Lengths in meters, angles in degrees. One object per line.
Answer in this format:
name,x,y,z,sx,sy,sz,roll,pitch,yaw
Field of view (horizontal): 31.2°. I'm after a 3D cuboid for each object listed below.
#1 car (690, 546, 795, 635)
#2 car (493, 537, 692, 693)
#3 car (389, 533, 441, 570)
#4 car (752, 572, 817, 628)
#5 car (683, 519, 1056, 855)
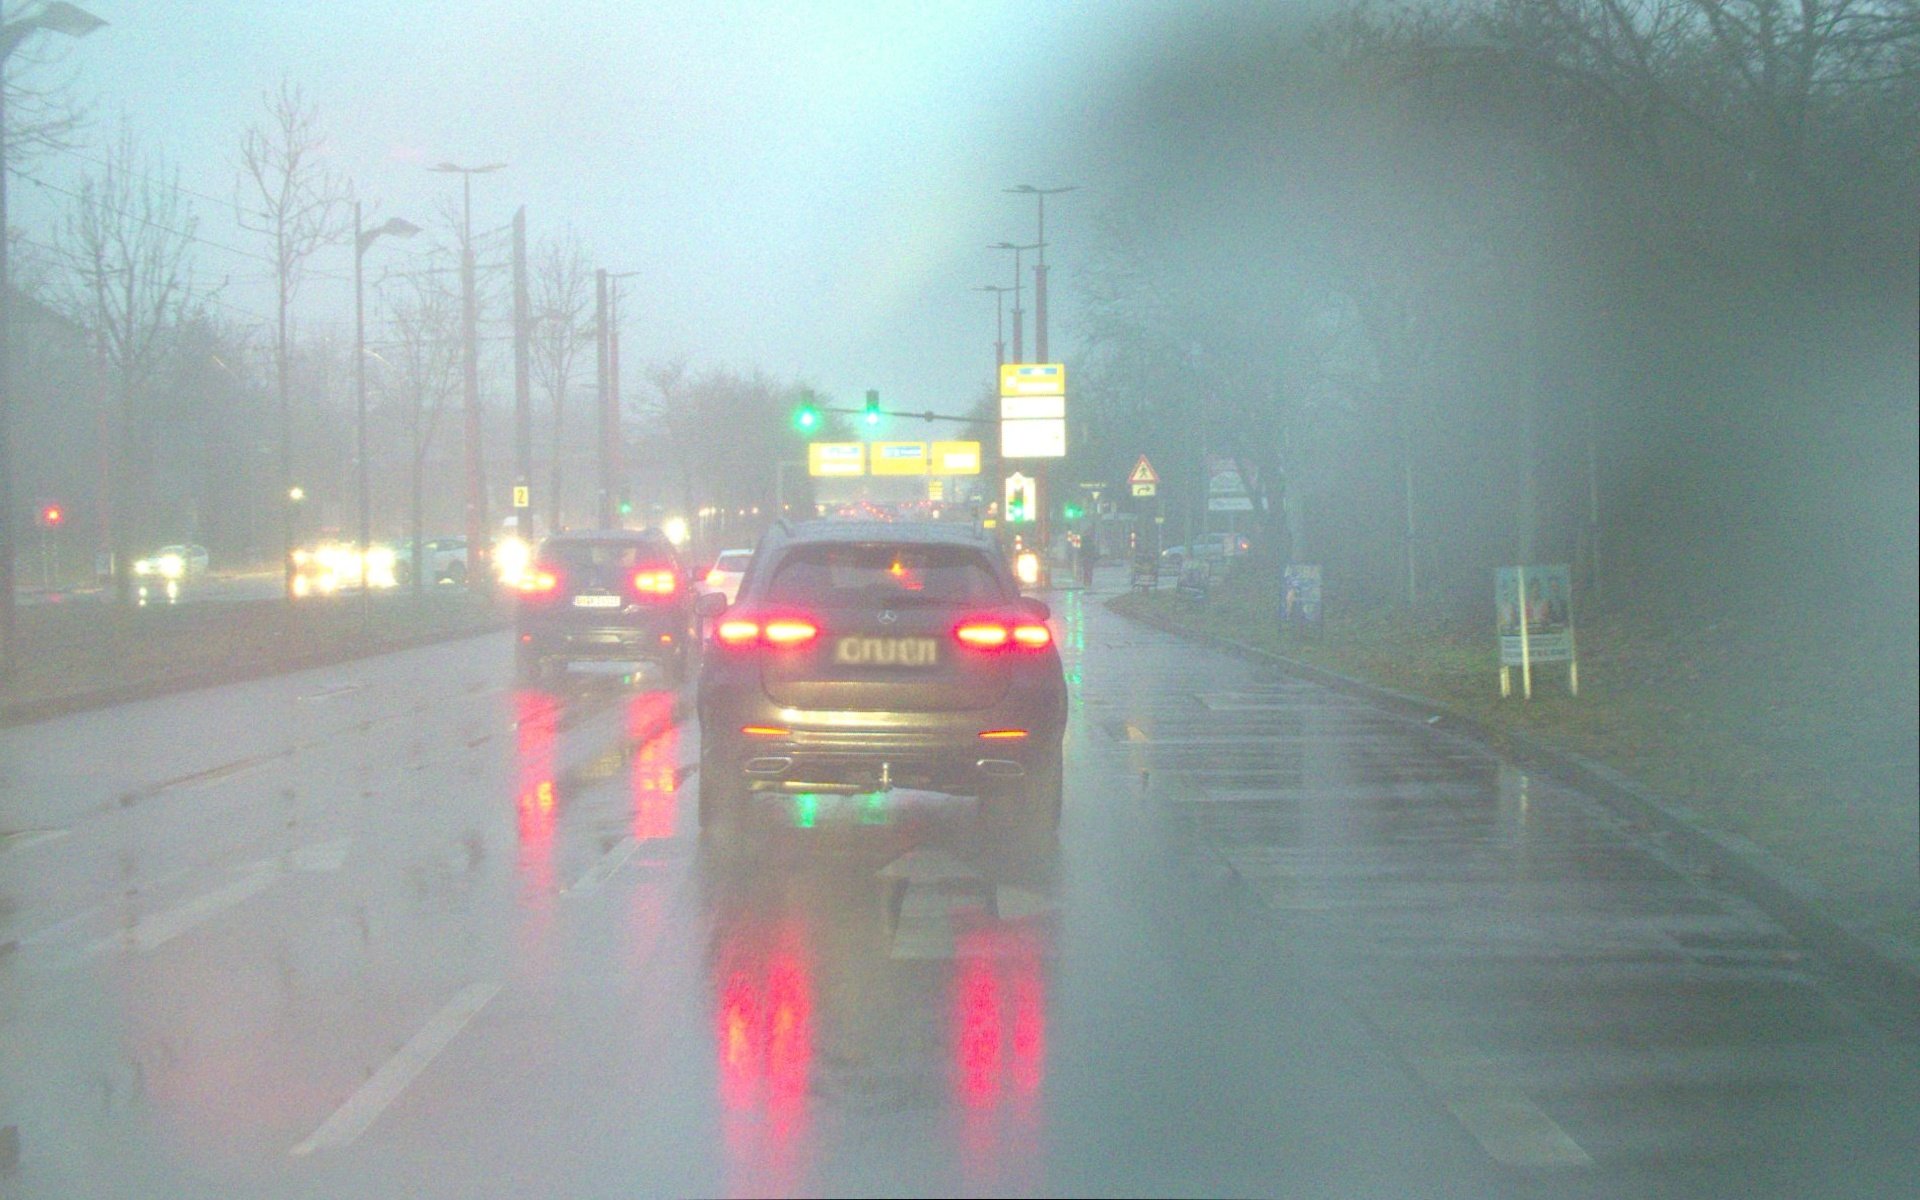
car,-4.174,-0.209,66.506,1.822,1.642,4.000,0,1,-1
car,-4.053,0.120,38.478,1.822,1.642,4.000,0,1,-1
car,-23.760,-2.123,149.877,1.769,1.548,3.948,-1,2,-2
car,-4.460,-0.012,87.747,1.505,1.334,4.000,0,1,-1
car,-0.469,0.384,19.121,1.822,1.642,4.467,0,1,-1
